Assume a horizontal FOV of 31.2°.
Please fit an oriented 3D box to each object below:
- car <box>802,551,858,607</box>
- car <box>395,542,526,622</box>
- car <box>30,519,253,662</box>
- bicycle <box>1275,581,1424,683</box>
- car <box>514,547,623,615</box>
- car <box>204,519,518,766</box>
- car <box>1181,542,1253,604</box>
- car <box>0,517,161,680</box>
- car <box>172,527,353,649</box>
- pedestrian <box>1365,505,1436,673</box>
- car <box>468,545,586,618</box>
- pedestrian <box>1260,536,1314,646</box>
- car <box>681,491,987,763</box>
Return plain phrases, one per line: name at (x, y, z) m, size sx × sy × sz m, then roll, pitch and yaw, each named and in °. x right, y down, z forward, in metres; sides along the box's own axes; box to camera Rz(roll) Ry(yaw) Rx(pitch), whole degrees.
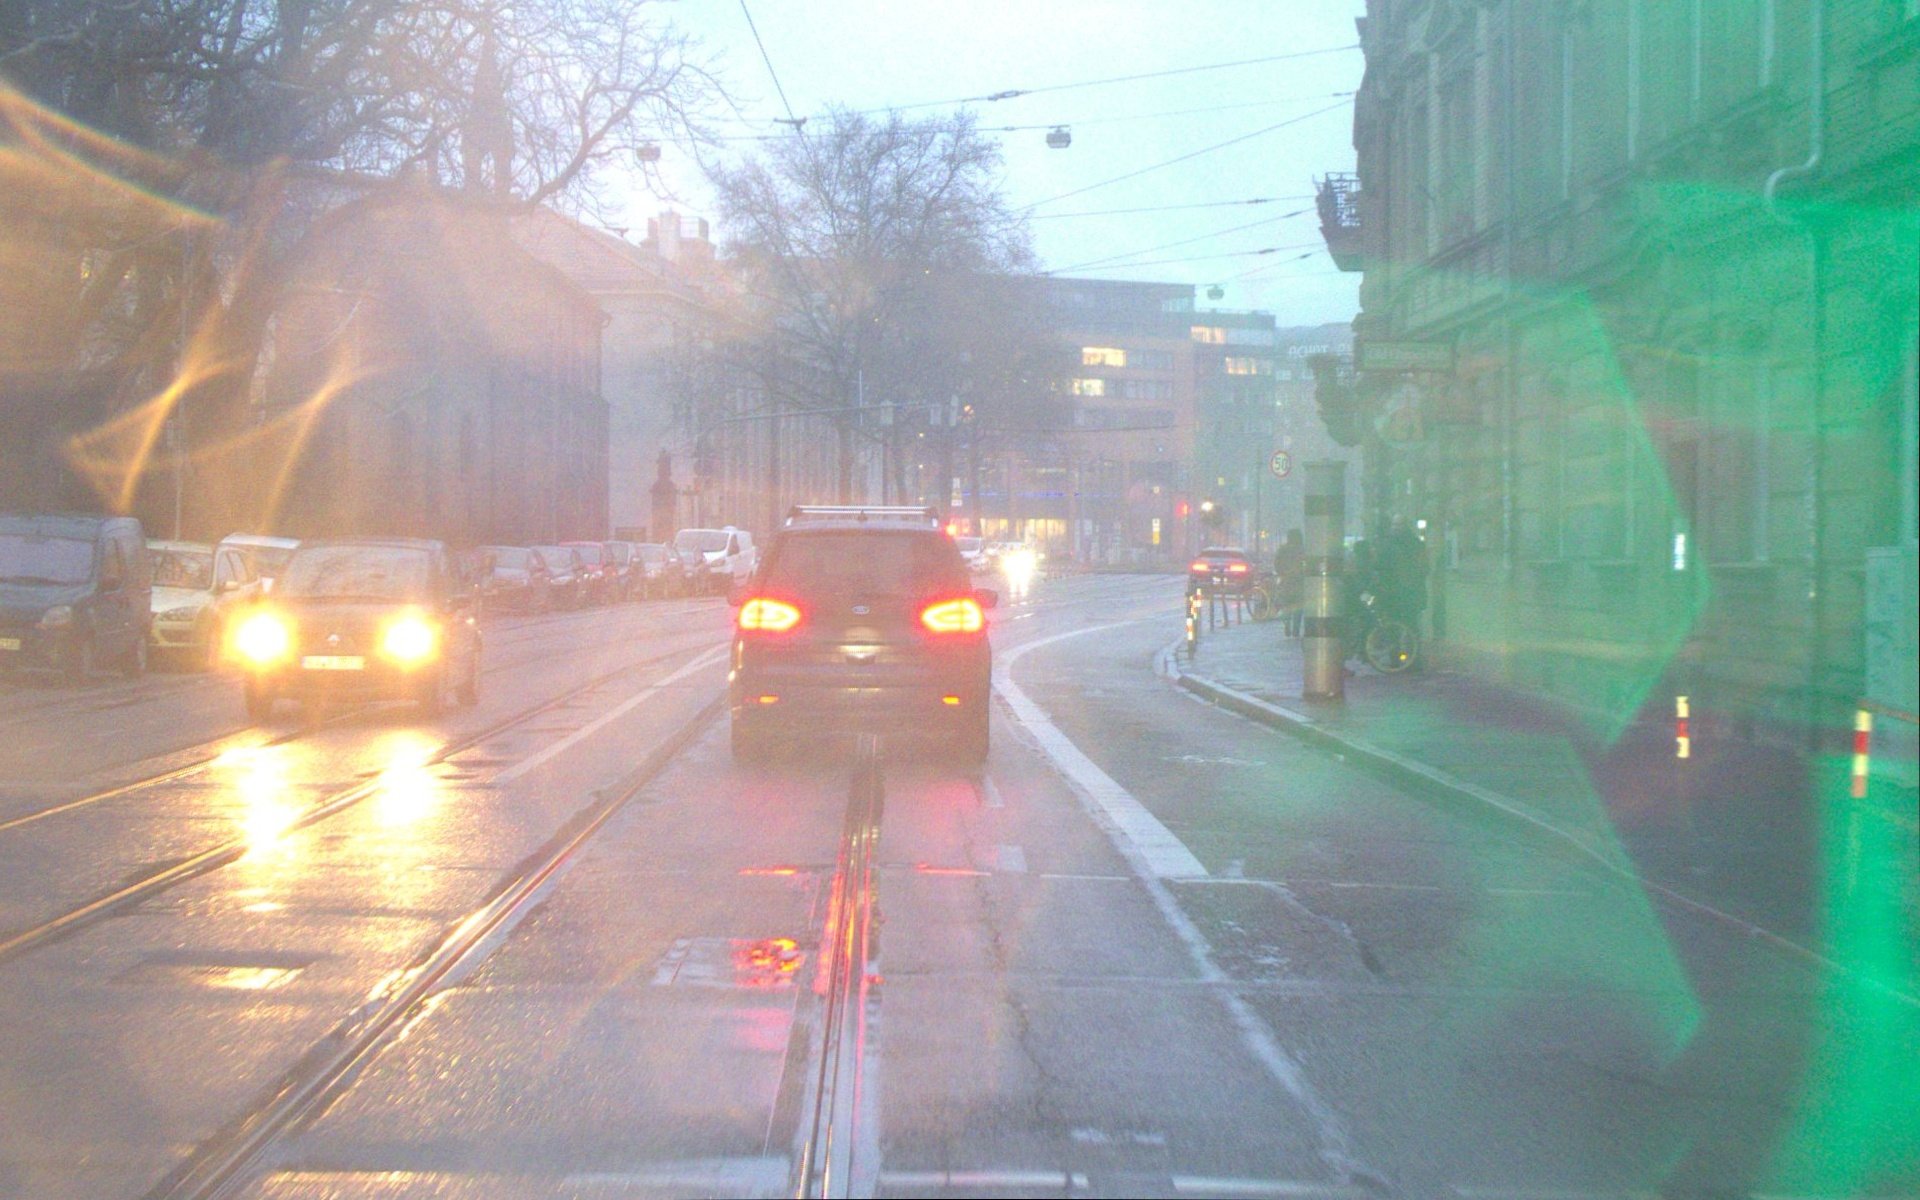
car at (-4.834, -0.775, 128.082) m, size 1.993 × 2.007 × 4.000 m, roll 1°, pitch 0°, yaw -1°
car at (-10.574, -0.393, 73.095) m, size 1.984 × 1.610 × 4.429 m, roll 1°, pitch 0°, yaw 2°
car at (-9.829, -0.127, 41.603) m, size 1.983 × 1.610 × 4.430 m, roll 1°, pitch 0°, yaw -5°
bicycle at (4.547, 0.363, 40.298) m, size 0.792 × 1.140 × 2.244 m, roll 1°, pitch 0°, yaw -20°
car at (-9.679, -0.475, 85.336) m, size 1.984 × 1.610 × 4.429 m, roll 1°, pitch 0°, yaw 3°
car at (-5.227, 0.336, 30.496) m, size 1.993 × 2.007 × 4.000 m, roll 1°, pitch 0°, yaw 1°
car at (7.881, -0.835, 105.657) m, size 1.993 × 1.835 × 4.000 m, roll 1°, pitch 1°, yaw 2°
car at (-9.815, -0.041, 36.496) m, size 1.983 × 1.610 × 4.430 m, roll 1°, pitch 0°, yaw -5°
car at (-9.742, -0.179, 48.313) m, size 1.983 × 1.610 × 4.430 m, roll 1°, pitch 0°, yaw -5°
pedestrian at (5.190, -0.131, 40.509) m, size 0.715 × 1.946 × 0.657 m, roll 1°, pitch 0°, yaw -1°
car at (-9.957, -0.432, 79.334) m, size 1.984 × 1.610 × 4.429 m, roll 1°, pitch 0°, yaw 2°
pedestrian at (5.361, -0.152, 56.355) m, size 0.771 × 1.769 × 0.685 m, roll 1°, pitch 0°, yaw -1°
car at (-0.850, 0.157, 25.539) m, size 1.993 × 1.835 × 4.000 m, roll 1°, pitch 1°, yaw 2°
